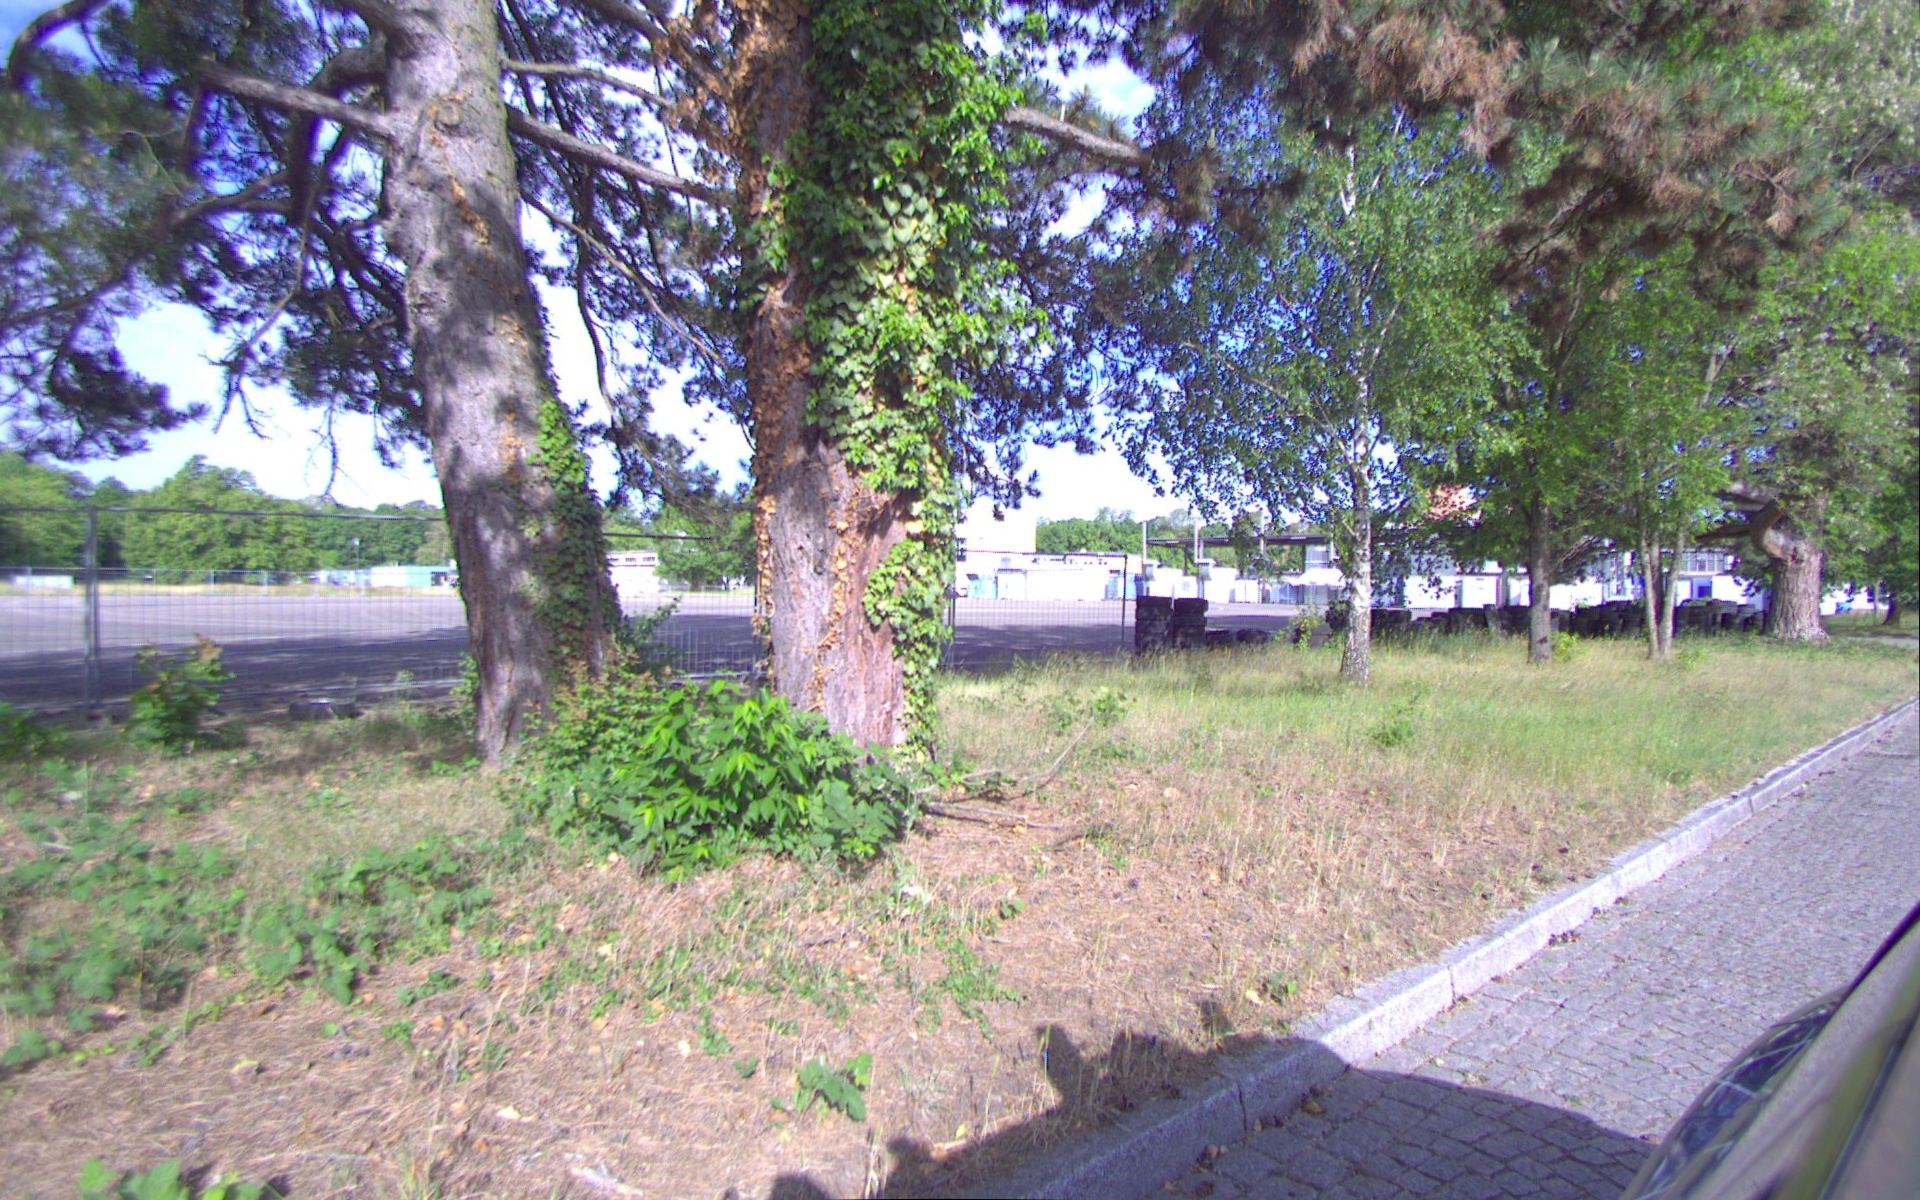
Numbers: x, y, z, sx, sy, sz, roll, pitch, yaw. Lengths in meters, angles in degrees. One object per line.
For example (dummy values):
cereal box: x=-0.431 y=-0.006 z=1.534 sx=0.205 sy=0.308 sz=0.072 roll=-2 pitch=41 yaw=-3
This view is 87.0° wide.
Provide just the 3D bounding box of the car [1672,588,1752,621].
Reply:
car: x=34.892 y=0.184 z=46.922 sx=3.924 sy=1.467 sz=1.848 roll=0 pitch=1 yaw=-36
